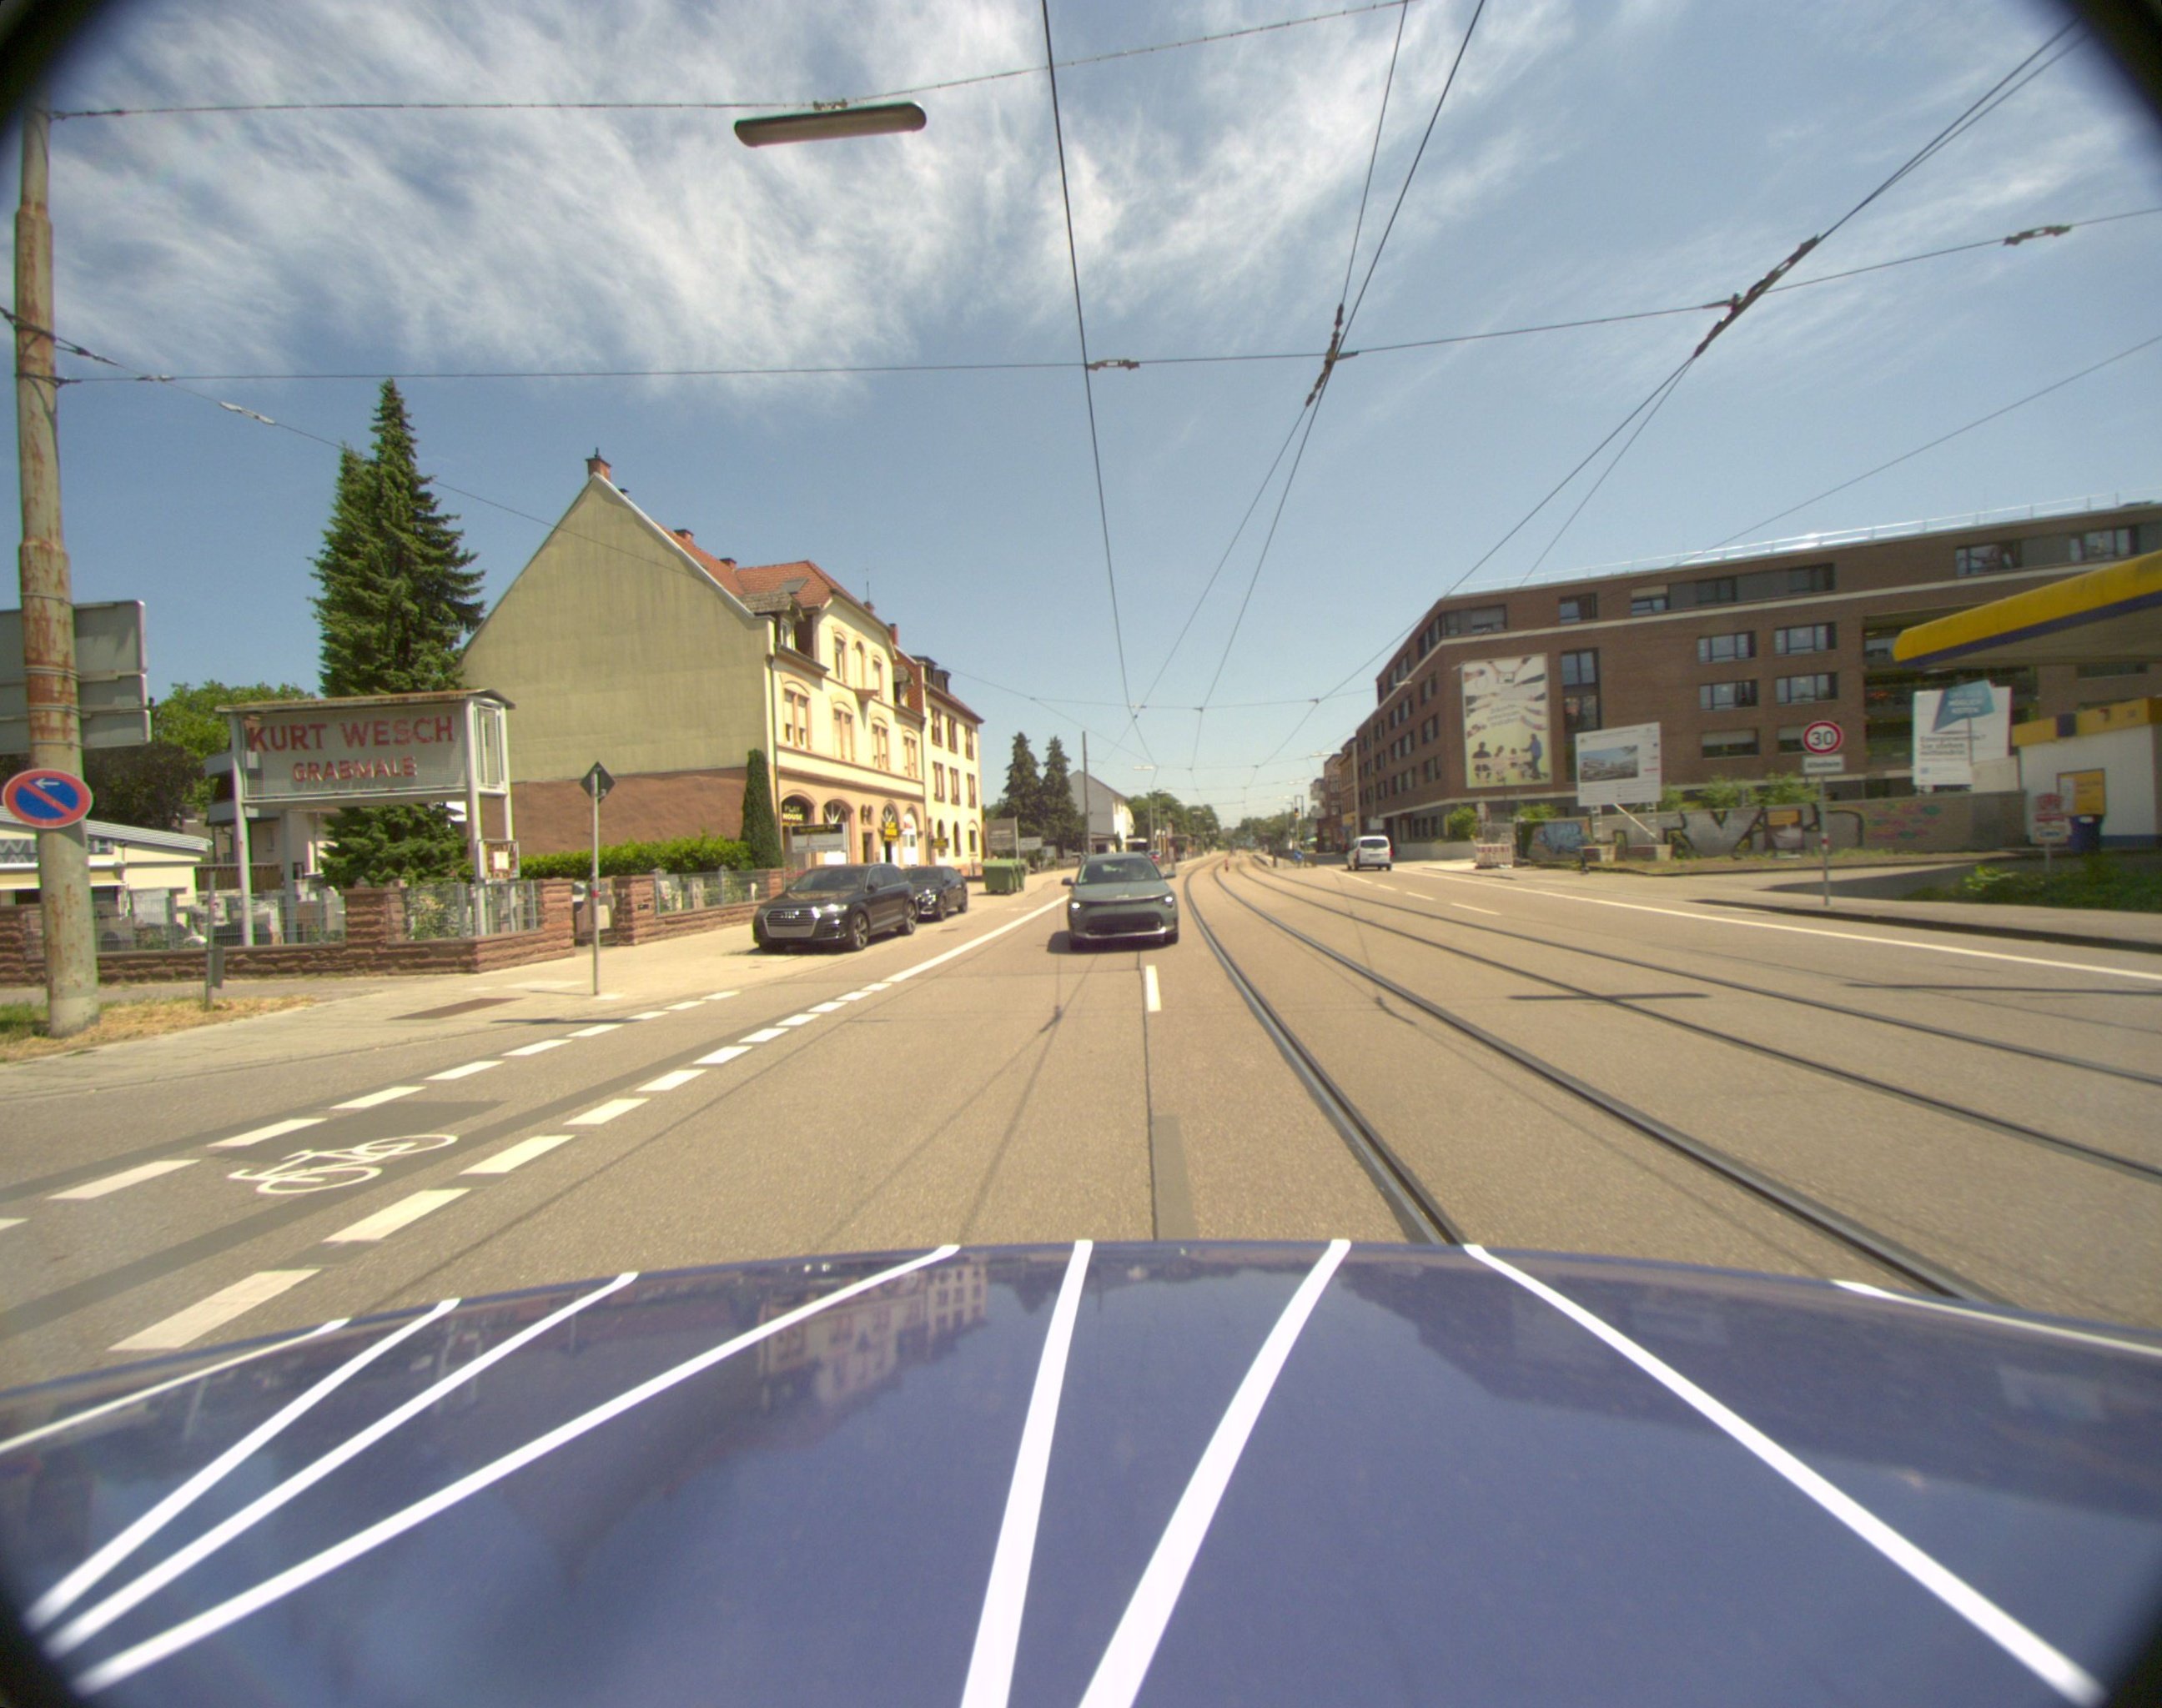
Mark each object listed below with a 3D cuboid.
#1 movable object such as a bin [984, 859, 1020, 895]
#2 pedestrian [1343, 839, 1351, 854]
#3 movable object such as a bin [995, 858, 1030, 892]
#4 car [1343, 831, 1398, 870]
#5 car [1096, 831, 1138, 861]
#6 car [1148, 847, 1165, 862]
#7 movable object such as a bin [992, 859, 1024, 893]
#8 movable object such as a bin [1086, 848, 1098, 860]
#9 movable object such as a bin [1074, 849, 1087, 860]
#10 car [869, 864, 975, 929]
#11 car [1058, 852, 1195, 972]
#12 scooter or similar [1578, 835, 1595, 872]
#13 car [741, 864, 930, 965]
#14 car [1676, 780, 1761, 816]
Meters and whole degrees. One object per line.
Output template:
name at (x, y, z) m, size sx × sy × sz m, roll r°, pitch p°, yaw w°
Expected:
movable object such as a bin at (-3.291, 0.961, 31.794) m, size 1.327 × 1.446 × 1.058 m, roll -1°, pitch 1°, yaw 1°
pedestrian at (29.574, -0.803, 84.448) m, size 0.604 × 1.586 × 0.715 m, roll -3°, pitch 1°, yaw 10°
movable object such as a bin at (-3.050, 0.928, 33.926) m, size 1.395 × 1.446 × 1.139 m, roll -1°, pitch 1°, yaw 1°
car at (15.376, -0.250, 40.544) m, size 1.997 × 1.789 × 4.556 m, roll -4°, pitch 1°, yaw 12°
car at (2.154, -0.461, 44.413) m, size 1.747 × 1.546 × 4.490 m, roll -4°, pitch 0°, yaw 10°
car at (8.444, 0.011, 84.555) m, size 1.748 × 1.546 × 4.489 m, roll -4°, pitch 0°, yaw 7°
movable object such as a bin at (-3.145, 0.940, 32.859) m, size 1.250 × 1.446 × 1.058 m, roll -1°, pitch 1°, yaw 1°
movable object such as a bin at (1.497, -0.036, 102.618) m, size 1.389 × 1.473 × 1.152 m, roll -3°, pitch 1°, yaw 13°
movable object such as a bin at (-0.060, 0.092, 103.053) m, size 1.389 × 1.473 × 1.152 m, roll -3°, pitch 1°, yaw 16°
car at (-4.489, 1.153, 22.146) m, size 1.776 × 1.539 × 4.468 m, roll -1°, pitch 1°, yaw 5°
car at (0.743, 0.805, 12.815) m, size 1.827 × 1.546 × 4.487 m, roll -3°, pitch 1°, yaw 3°
scooter or similar at (18.242, -0.020, 27.443) m, size 0.345 × 1.257 × 1.244 m, roll -4°, pitch 1°, yaw 29°
car at (-4.937, 1.127, 16.206) m, size 1.928 × 1.683 × 5.083 m, roll -1°, pitch 1°, yaw 5°
car at (31.610, -2.756, 37.812) m, size 1.734 × 1.460 × 4.004 m, roll -4°, pitch 0°, yaw 16°
